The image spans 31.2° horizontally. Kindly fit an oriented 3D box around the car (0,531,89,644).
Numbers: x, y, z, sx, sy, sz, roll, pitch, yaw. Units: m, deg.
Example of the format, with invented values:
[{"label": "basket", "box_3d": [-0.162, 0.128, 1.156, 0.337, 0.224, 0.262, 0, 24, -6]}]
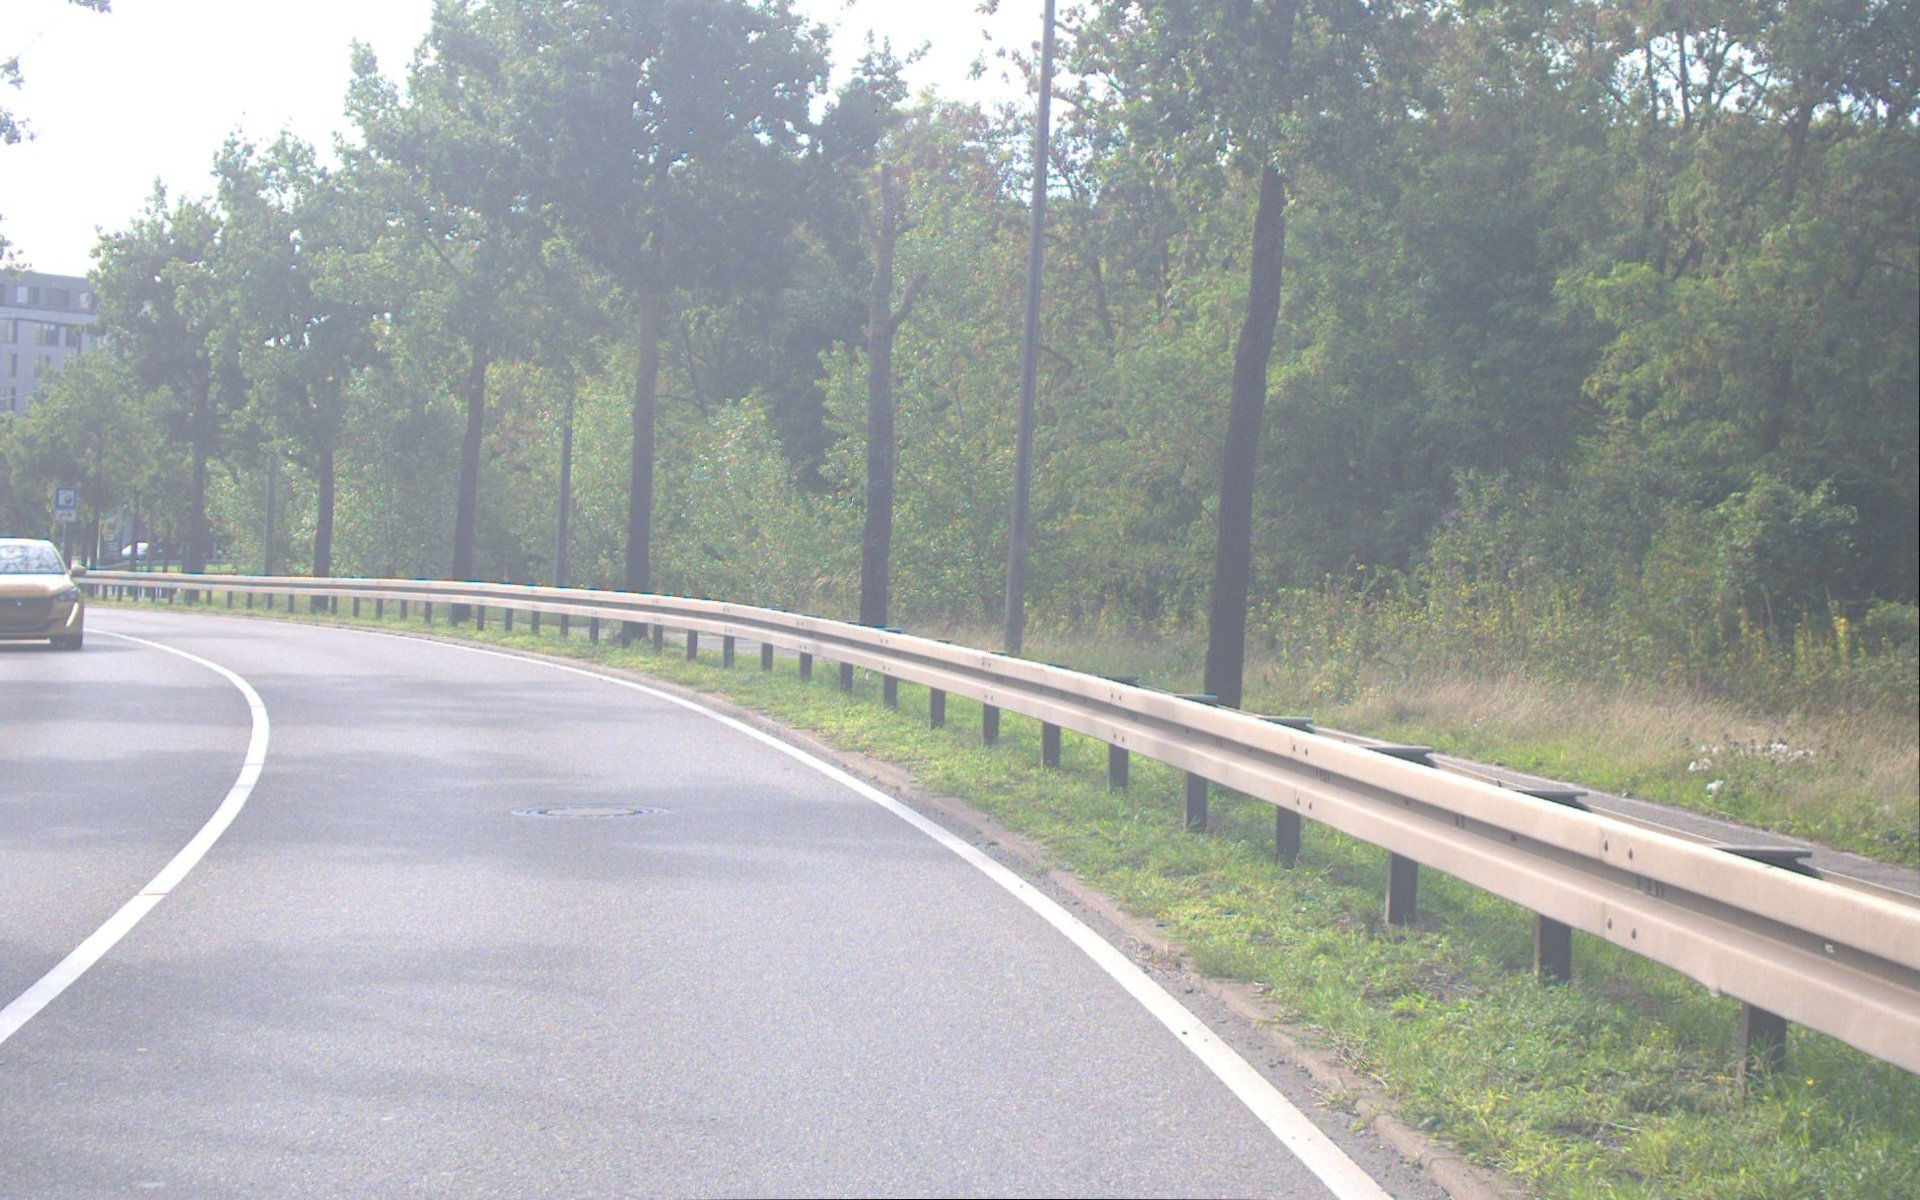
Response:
[{"label": "car", "box_3d": [-12.472, -0.201, 45.534, 1.799, 1.420, 3.873, 0, 1, -14]}]
